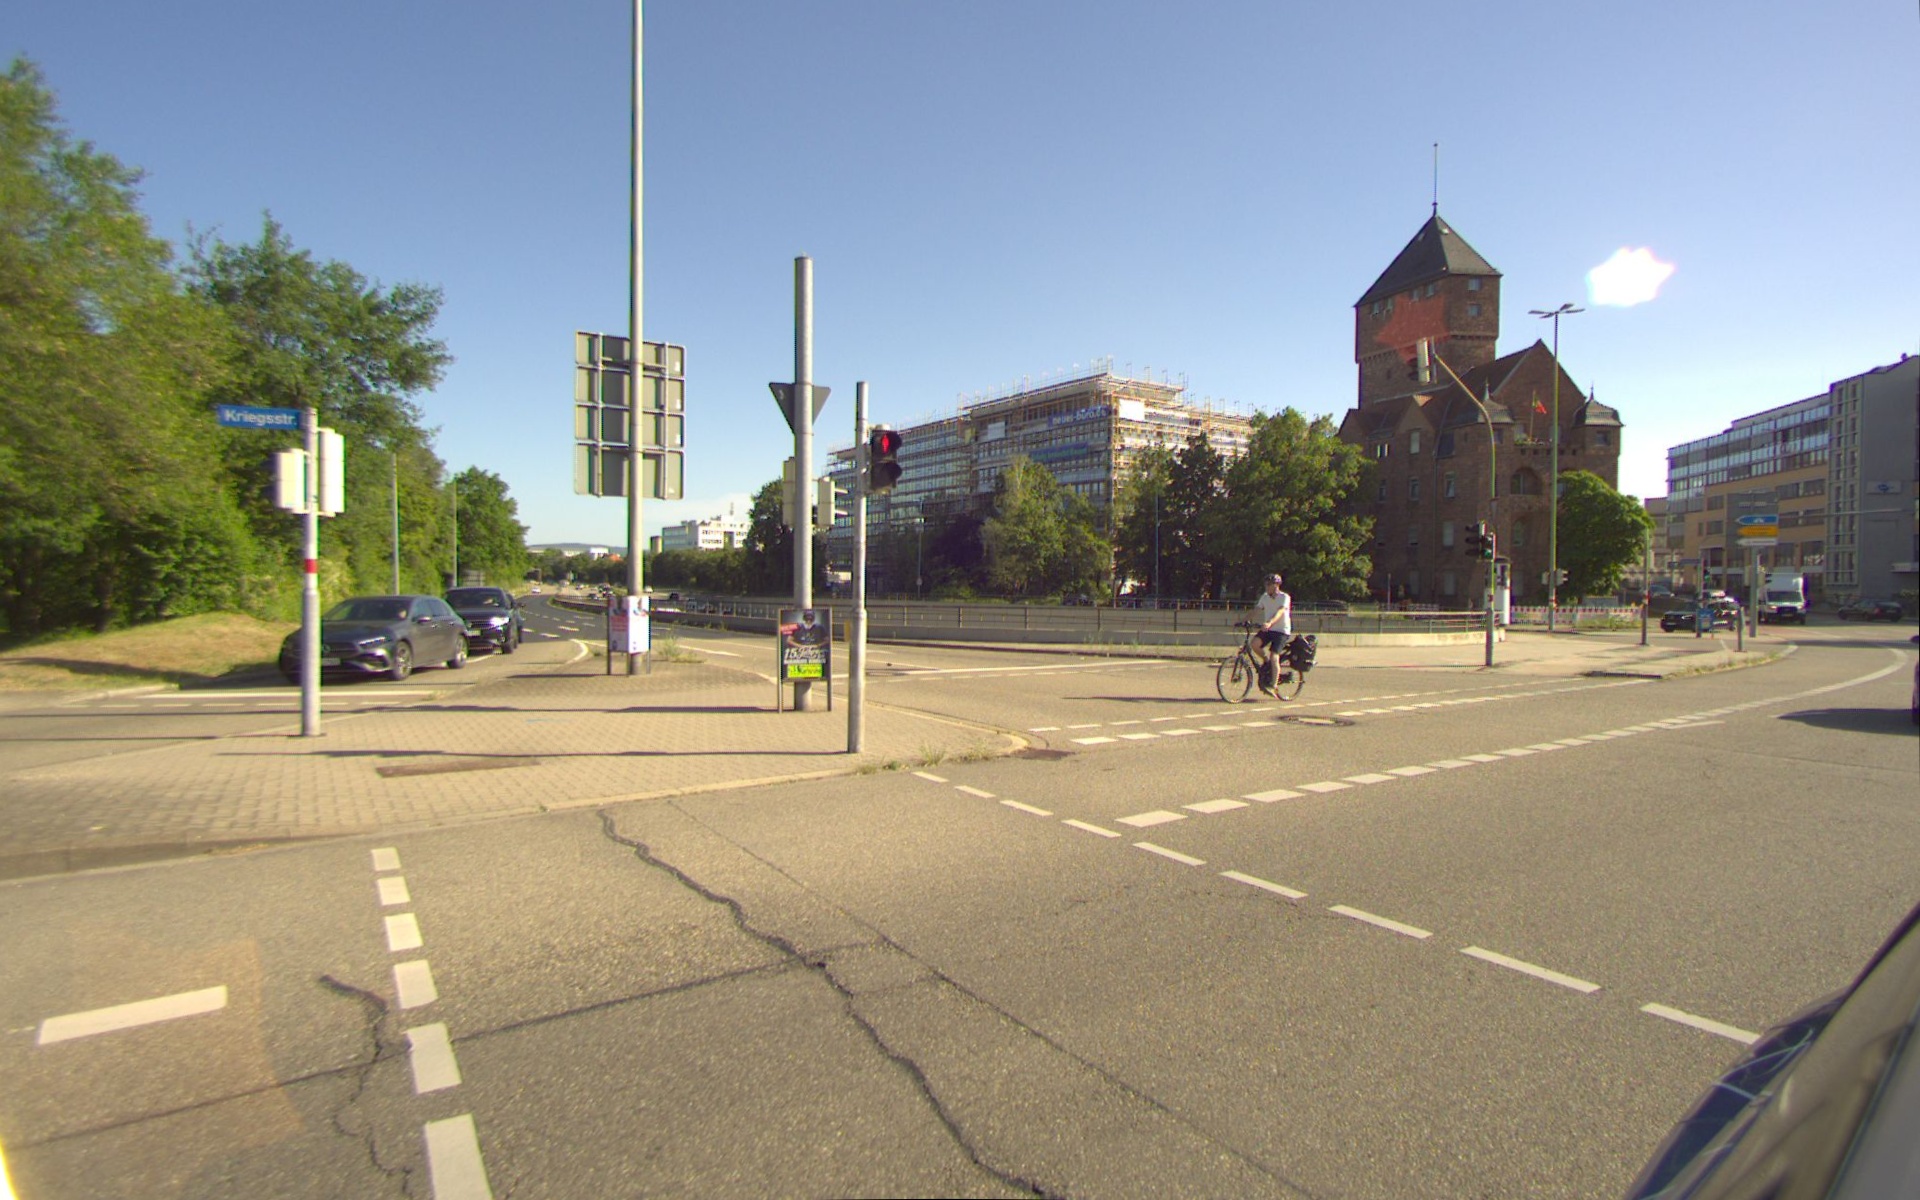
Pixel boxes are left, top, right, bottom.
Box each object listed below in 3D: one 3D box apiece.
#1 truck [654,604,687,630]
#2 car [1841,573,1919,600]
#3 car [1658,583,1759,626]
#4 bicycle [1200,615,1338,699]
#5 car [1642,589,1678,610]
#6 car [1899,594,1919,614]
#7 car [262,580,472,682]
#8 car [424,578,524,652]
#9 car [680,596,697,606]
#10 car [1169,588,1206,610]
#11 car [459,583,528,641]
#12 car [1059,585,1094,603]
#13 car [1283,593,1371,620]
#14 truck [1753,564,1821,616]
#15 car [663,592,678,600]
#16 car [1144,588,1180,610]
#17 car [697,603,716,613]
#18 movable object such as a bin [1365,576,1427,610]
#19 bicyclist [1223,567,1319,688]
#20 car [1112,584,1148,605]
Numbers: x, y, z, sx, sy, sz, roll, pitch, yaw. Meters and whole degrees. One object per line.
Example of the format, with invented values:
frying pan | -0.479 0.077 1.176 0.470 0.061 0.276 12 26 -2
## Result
truck | -29.751 1.750 103.822 2.240 2.416 5.393 -2 2 -26
car | 59.448 -0.870 65.077 1.920 1.641 4.772 1 1 10
car | 40.463 0.231 54.740 4.684 2.290 1.956 0 1 -17
bicycle | 4.434 0.797 14.543 1.788 1.116 0.695 0 0 -16
car | 63.015 -0.089 91.198 1.738 1.781 4.747 1 1 24
car | 74.160 0.322 77.237 1.612 1.542 4.149 1 1 10
car | -10.297 0.452 17.967 1.822 1.571 4.252 1 1 -10
car | -11.847 0.291 24.909 1.822 1.636 4.688 0 1 -21
car | -45.819 0.151 170.849 1.960 1.415 4.006 -2 2 -27
car | 17.043 -0.105 75.742 1.978 1.581 3.751 1 1 24
car | -14.612 0.312 31.678 1.822 1.636 4.687 0 1 -25
car | 10.239 -0.531 88.799 1.978 1.472 3.751 1 1 24
car | 21.891 0.365 60.499 4.609 1.489 1.855 2 2 37
truck | 52.467 -0.667 64.364 2.486 3.167 6.879 1 1 32
car | -55.632 -0.747 194.413 1.960 1.415 4.006 -2 2 -27
car | 15.641 -0.099 78.311 1.978 1.581 3.751 1 1 24
car | -37.618 1.179 150.177 1.960 1.415 4.006 -2 2 -27
movable object such as a bin | 31.892 -0.541 74.101 1.958 2.439 4.009 0 1 -20
bicyclist | 4.472 0.374 14.564 1.089 1.680 0.728 0 0 -16
car | 13.803 -0.460 81.893 1.978 1.581 3.751 1 1 24
